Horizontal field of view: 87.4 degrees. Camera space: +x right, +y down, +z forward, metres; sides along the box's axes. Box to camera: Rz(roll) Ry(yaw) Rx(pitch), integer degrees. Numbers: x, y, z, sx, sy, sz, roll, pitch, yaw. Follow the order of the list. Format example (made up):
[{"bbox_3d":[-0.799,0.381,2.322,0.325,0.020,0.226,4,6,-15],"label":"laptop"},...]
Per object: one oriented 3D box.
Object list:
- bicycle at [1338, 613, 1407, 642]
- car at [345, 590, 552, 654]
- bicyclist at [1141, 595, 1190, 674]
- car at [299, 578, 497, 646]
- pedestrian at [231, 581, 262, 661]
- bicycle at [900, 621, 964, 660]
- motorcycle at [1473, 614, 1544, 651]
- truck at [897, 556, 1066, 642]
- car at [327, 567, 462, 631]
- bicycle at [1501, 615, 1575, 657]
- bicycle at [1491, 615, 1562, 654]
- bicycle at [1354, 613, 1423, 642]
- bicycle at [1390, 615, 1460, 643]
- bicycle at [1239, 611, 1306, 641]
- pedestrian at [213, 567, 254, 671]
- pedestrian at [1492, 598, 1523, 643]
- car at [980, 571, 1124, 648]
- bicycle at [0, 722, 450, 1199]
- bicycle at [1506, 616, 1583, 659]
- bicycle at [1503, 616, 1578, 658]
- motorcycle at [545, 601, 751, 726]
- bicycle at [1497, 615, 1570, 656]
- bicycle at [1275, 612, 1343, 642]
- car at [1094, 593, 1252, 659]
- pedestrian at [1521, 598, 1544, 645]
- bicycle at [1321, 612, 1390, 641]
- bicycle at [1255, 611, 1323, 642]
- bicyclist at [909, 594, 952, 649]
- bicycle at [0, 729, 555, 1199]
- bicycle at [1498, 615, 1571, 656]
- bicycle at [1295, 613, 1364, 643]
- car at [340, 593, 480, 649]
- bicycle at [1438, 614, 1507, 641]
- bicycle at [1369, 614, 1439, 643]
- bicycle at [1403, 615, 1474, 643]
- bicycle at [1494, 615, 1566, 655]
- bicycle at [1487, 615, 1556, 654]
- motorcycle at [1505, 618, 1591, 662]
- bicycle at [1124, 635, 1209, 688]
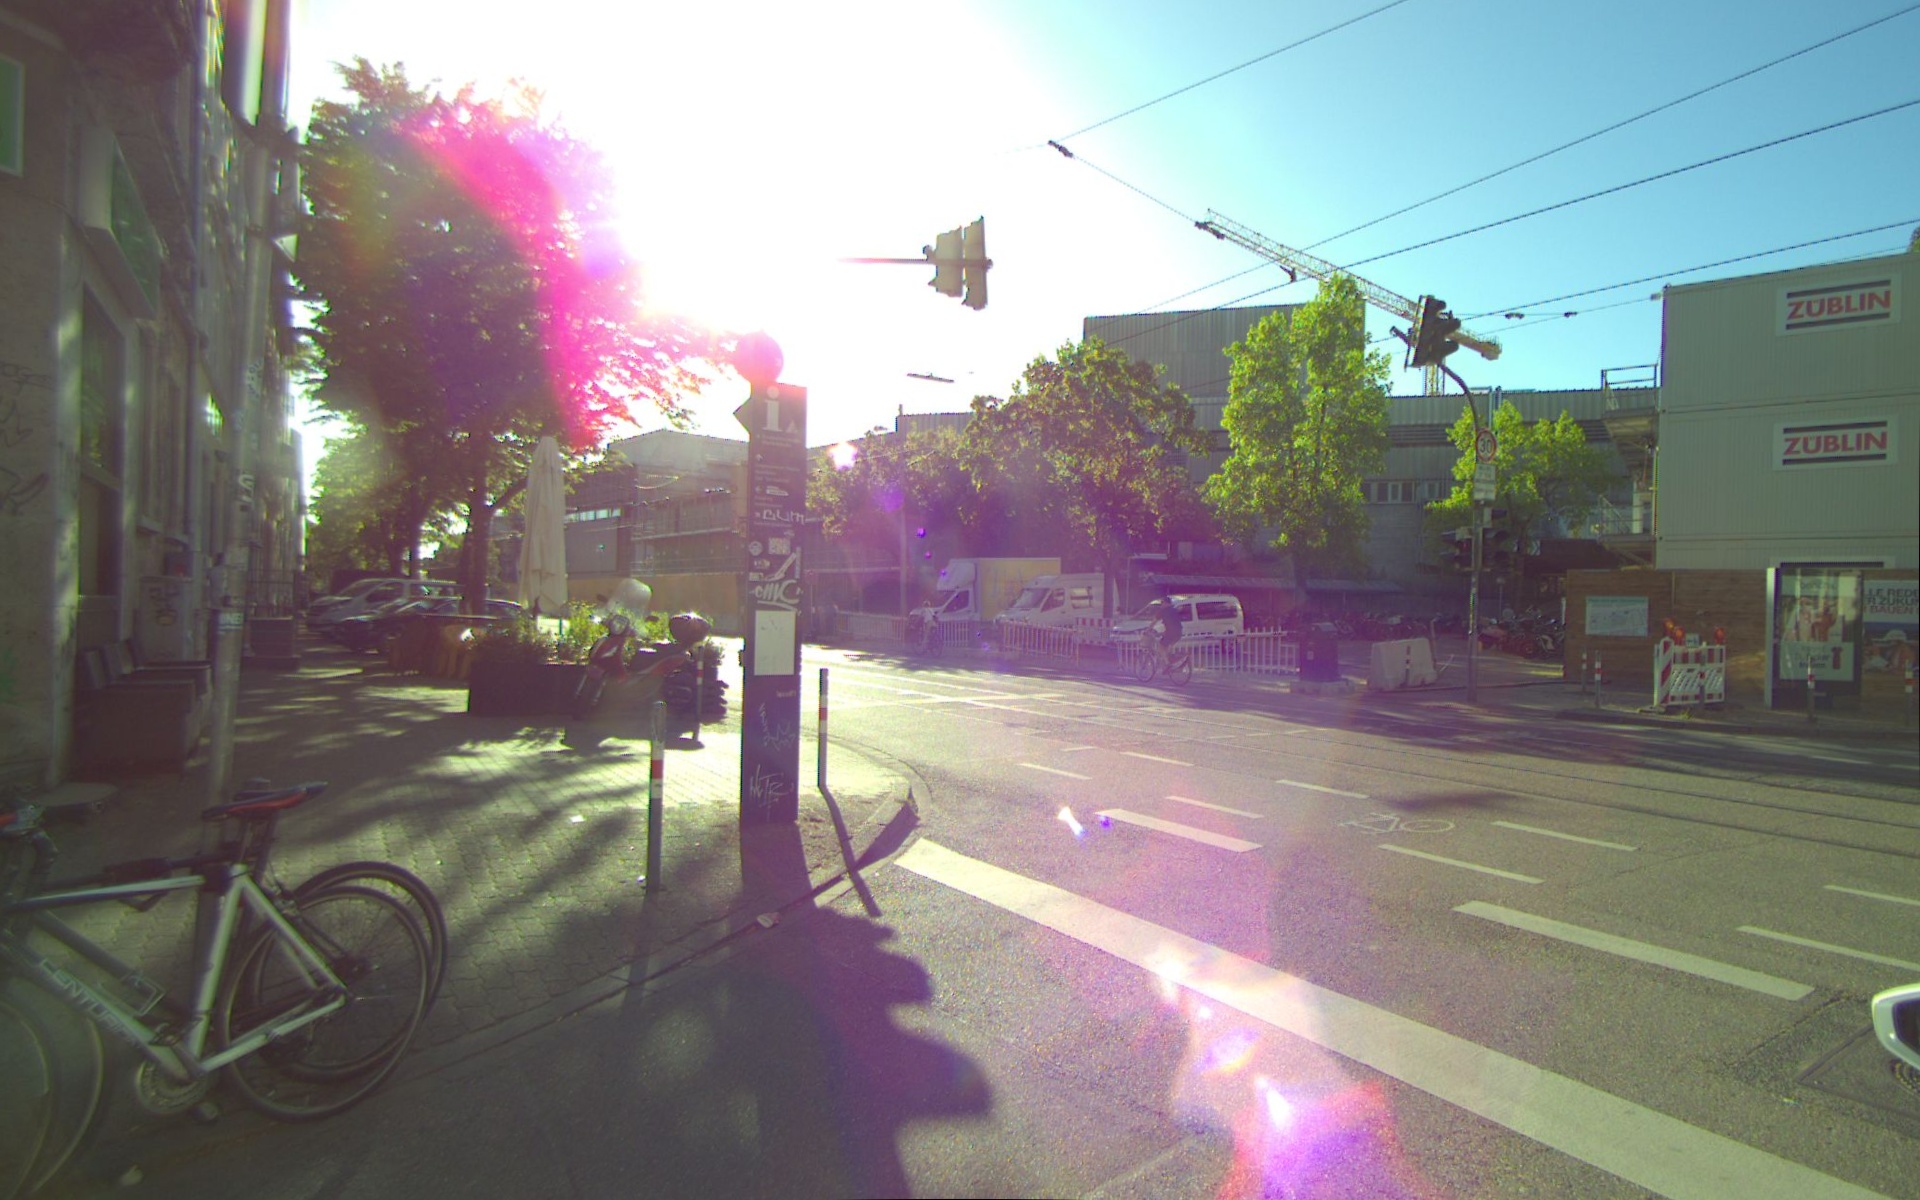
[{"bbox_3d":[17.802,1.162,43.428,0.810,1.163,3.071,0,0,-24],"label":"bicycle"},{"bbox_3d":[-13.307,0.569,26.427,1.660,1.510,4.631,1,-1,34],"label":"car"},{"bbox_3d":[4.479,0.743,21.897,0.675,1.680,0.804,1,0,-34],"label":"bicyclist"},{"bbox_3d":[-18.212,0.369,32.821,2.004,2.018,5.333,1,0,33],"label":"car"},{"bbox_3d":[-15.099,0.443,21.254,0.534,1.665,0.564,0,1,-36],"label":"pedestrian"},{"bbox_3d":[-0.918,1.251,31.614,0.886,1.107,2.408,3,-1,-32],"label":"bicycle"},{"bbox_3d":[19.693,1.169,36.100,2.168,1.274,0.543,0,1,20],"label":"motorcycle"},{"bbox_3d":[0.999,-0.089,42.391,7.044,3.393,2.368,-1,1,-33],"label":"truck"},{"bbox_3d":[-26.387,0.001,46.928,5.150,2.611,2.222,5,-3,-37],"label":"car"},{"bbox_3d":[18.533,1.150,32.247,2.009,1.274,0.471,0,1,20],"label":"bicycle"},{"bbox_3d":[19.351,1.177,34.352,2.009,1.274,0.543,0,1,20],"label":"bicycle"},{"bbox_3d":[18.619,1.192,43.763,0.810,1.163,3.071,0,0,-24],"label":"bicycle"},{"bbox_3d":[20.597,1.264,44.604,0.810,1.163,3.071,0,0,-24],"label":"bicycle"},{"bbox_3d":[12.668,1.039,40.851,0.810,1.163,3.071,0,0,-24],"label":"bicycle"},{"bbox_3d":[-11.849,0.302,16.393,0.534,1.665,0.564,0,1,-36],"label":"pedestrian"},{"bbox_3d":[24.642,0.914,45.218,0.925,2.040,0.799,0,0,-23],"label":"pedestrian"},{"bbox_3d":[3.475,0.268,37.312,5.328,2.565,1.979,-3,2,-36],"label":"car"},{"bbox_3d":[-2.279,0.966,2.759,0.442,1.060,1.663,1,0,23],"label":"bicycle"},{"bbox_3d":[18.204,1.167,31.321,2.009,1.274,0.471,0,1,20],"label":"bicycle"},{"bbox_3d":[18.346,1.145,31.779,2.009,1.274,0.471,0,1,20],"label":"bicycle"},{"bbox_3d":[-3.752,0.766,12.364,0.982,1.368,2.419,1,-3,26],"label":"motorcycle"},{"bbox_3d":[18.957,1.164,33.222,2.009,1.274,0.543,0,1,20],"label":"bicycle"},{"bbox_3d":[14.519,1.107,41.880,0.810,1.163,3.071,0,0,-24],"label":"bicycle"},{"bbox_3d":[6.870,0.772,32.305,4.885,1.918,1.996,-1,1,-28],"label":"car"},{"bbox_3d":[25.347,0.934,44.473,0.789,2.040,1.028,1,0,33],"label":"pedestrian"},{"bbox_3d":[16.882,1.128,42.980,0.810,1.163,3.071,0,0,-24],"label":"bicycle"},{"bbox_3d":[13.500,1.070,41.379,0.810,1.163,3.071,0,0,-24],"label":"bicycle"},{"bbox_3d":[-0.942,0.669,31.687,0.886,1.661,1.090,3,-1,-33],"label":"bicyclist"},{"bbox_3d":[-1.857,0.991,2.578,0.449,1.060,1.687,1,2,23],"label":"bicycle"},{"bbox_3d":[18.702,1.155,32.731,2.009,1.274,0.471,0,1,20],"label":"bicycle"},{"bbox_3d":[15.505,1.143,42.275,0.810,1.163,3.071,0,0,-24],"label":"bicycle"},{"bbox_3d":[-16.738,0.611,30.687,1.659,1.523,3.317,4,2,32],"label":"car"},{"bbox_3d":[24.117,1.289,47.348,0.810,1.163,3.071,0,0,-24],"label":"bicycle"},{"bbox_3d":[19.494,1.224,44.167,0.810,1.163,3.071,0,0,-24],"label":"bicycle"},{"bbox_3d":[21.410,1.294,45.044,0.810,1.163,3.071,0,0,-24],"label":"bicycle"},{"bbox_3d":[19.153,1.171,33.783,2.009,1.274,0.543,0,1,20],"label":"bicycle"},{"bbox_3d":[19.511,1.185,34.925,2.009,1.274,0.543,0,1,20],"label":"bicycle"},{"bbox_3d":[17.721,1.187,30.334,2.168,1.274,0.543,0,1,20],"label":"motorcycle"},{"bbox_3d":[4.477,1.318,21.894,0.675,1.032,1.903,1,0,-34],"label":"bicycle"}]
